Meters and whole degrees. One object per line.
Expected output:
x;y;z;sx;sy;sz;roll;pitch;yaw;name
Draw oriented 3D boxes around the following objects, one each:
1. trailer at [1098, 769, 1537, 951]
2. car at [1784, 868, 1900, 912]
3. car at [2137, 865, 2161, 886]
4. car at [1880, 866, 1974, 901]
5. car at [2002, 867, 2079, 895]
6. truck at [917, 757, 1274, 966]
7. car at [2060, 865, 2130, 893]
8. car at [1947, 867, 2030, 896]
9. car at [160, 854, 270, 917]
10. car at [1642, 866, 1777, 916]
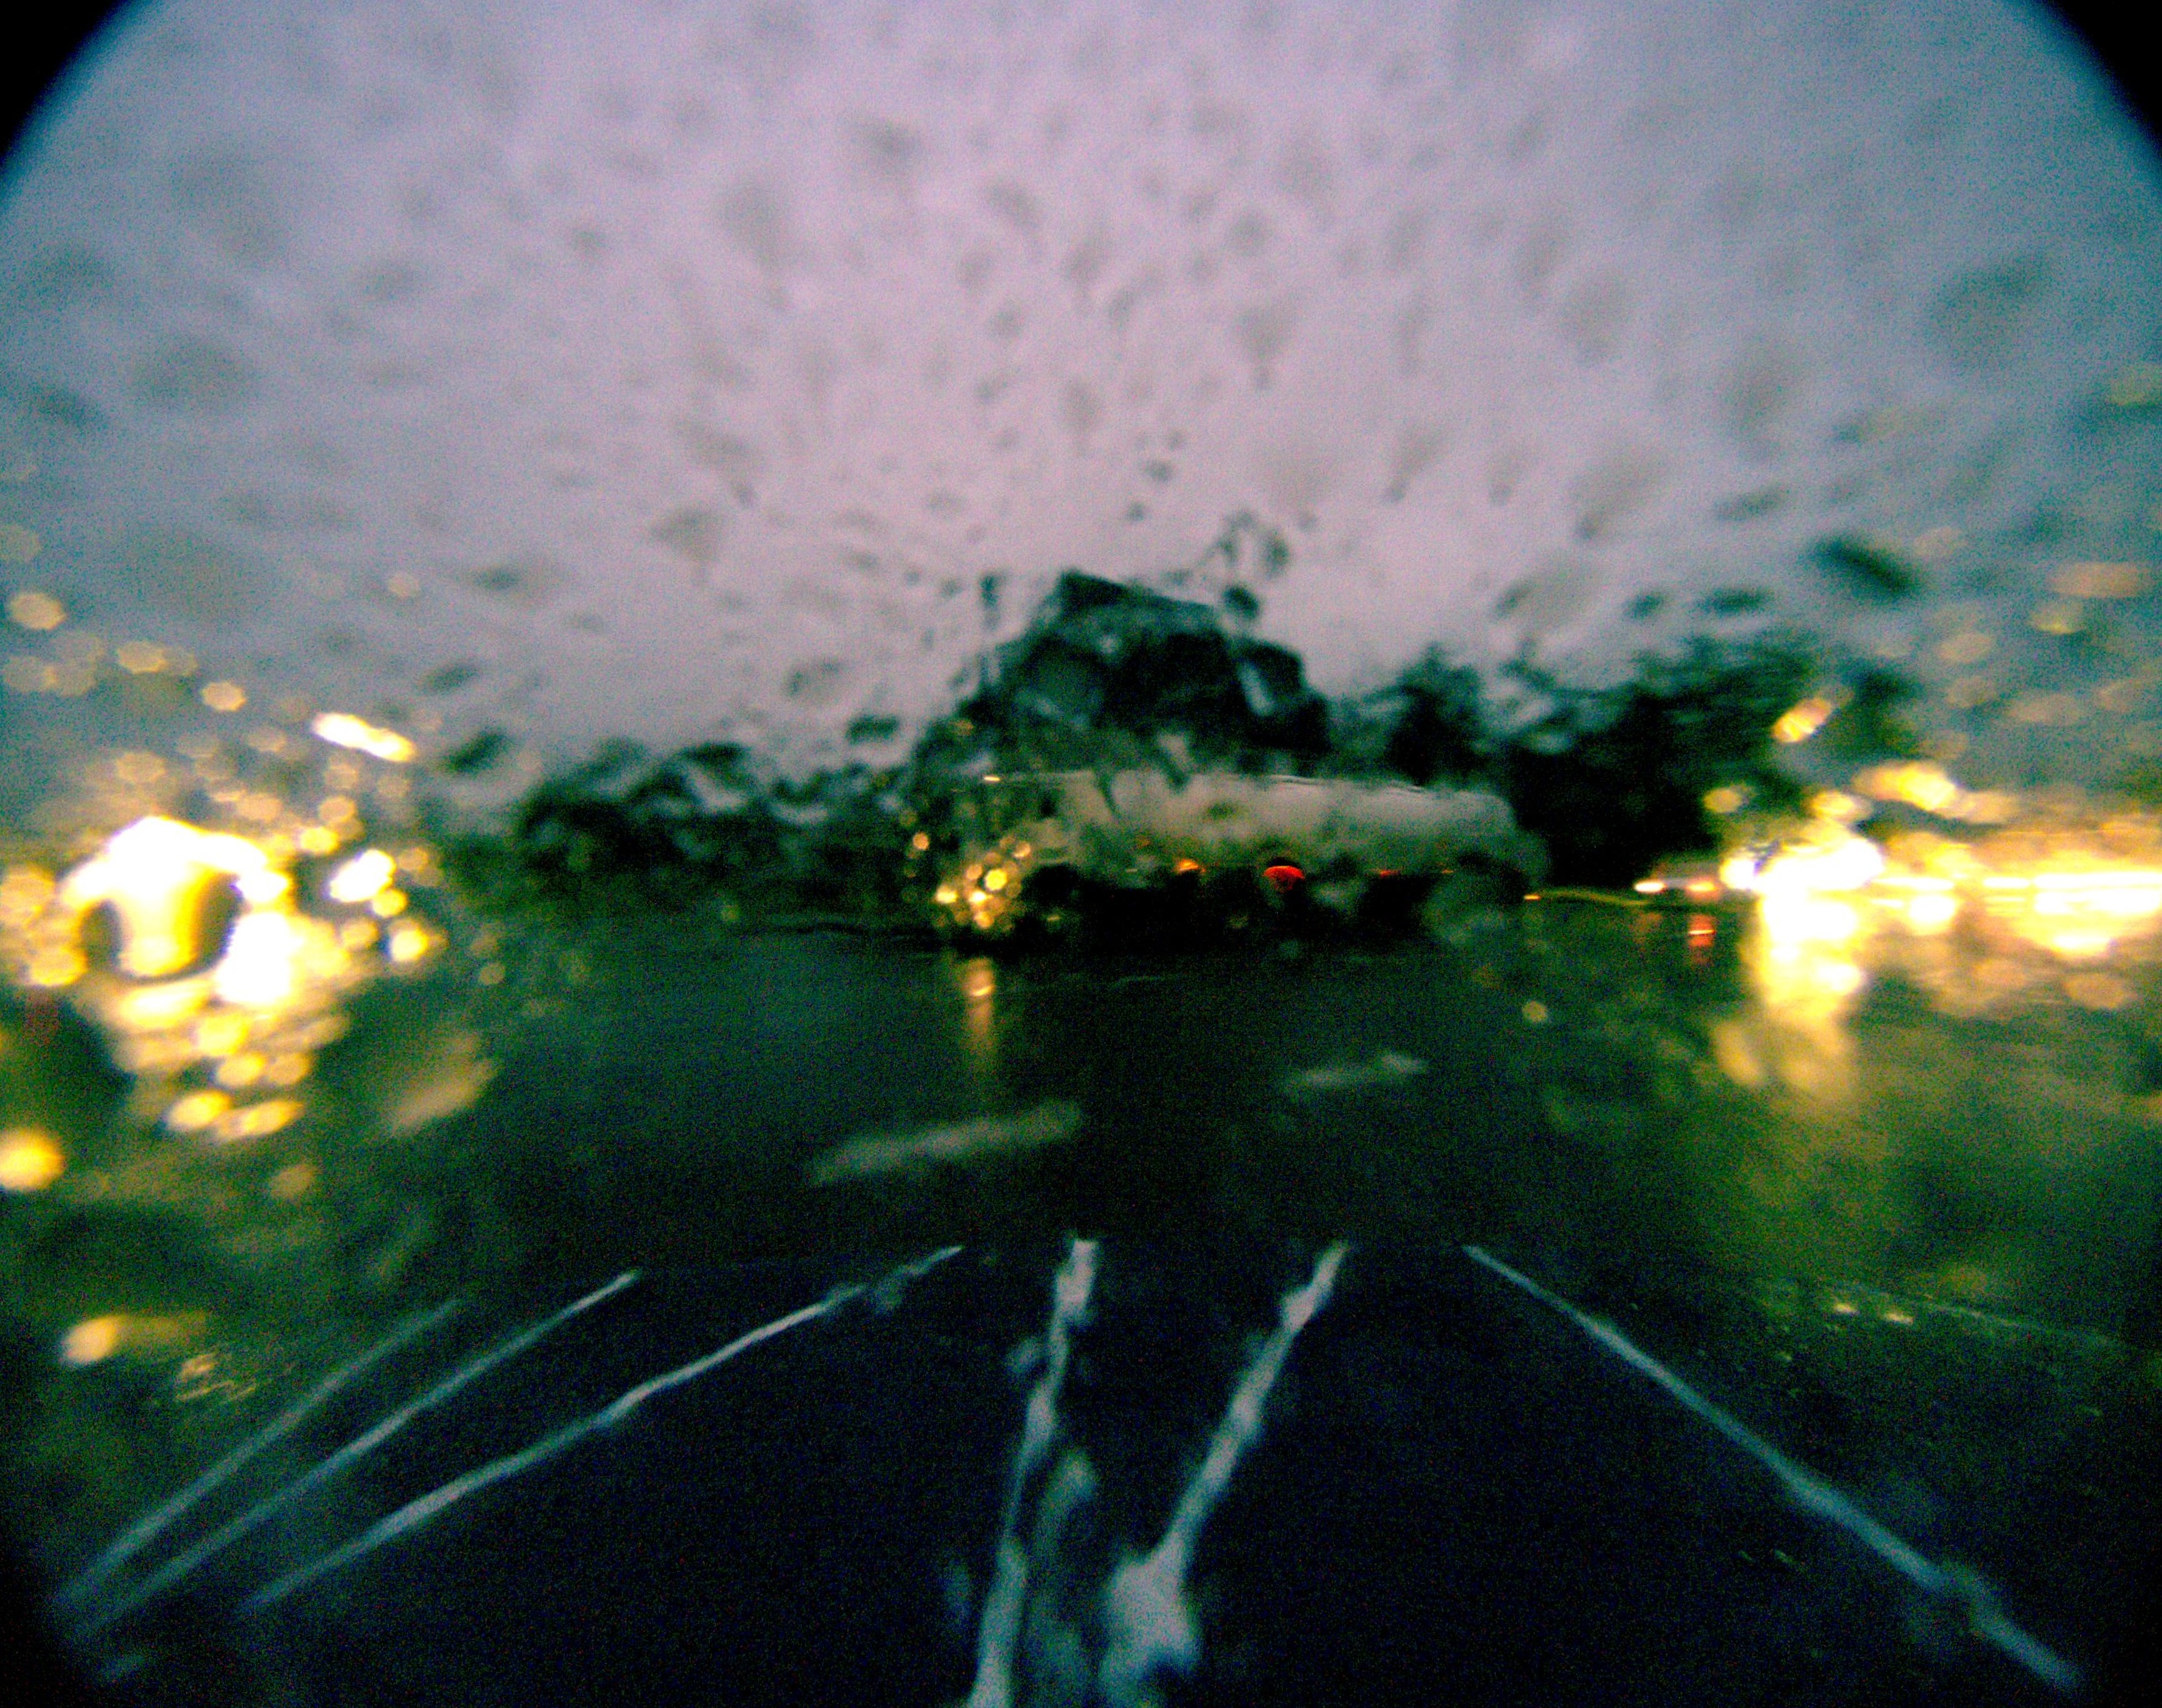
5.734;0.138;17.096;10.885;3.221;2.490;0;0;-28;trailer
28.973;1.327;28.912;4.510;1.559;1.838;0;-1;-27;car
77.616;1.505;54.445;4.007;1.483;2.012;1;-1;-32;car
37.115;1.267;33.328;4.278;1.462;1.704;0;-1;-27;car
51.251;1.415;40.561;4.776;1.358;1.642;0;0;-27;car
0.360;0.134;14.231;6.282;3.210;2.464;0;0;-28;truck
59.296;1.455;44.433;4.471;1.566;1.710;1;0;-27;car
43.707;1.294;36.589;4.278;1.328;1.655;0;0;-27;car
-25.208;0.845;22.092;3.905;1.679;1.822;0;-1;37;car
19.640;1.101;23.725;4.388;1.430;1.664;0;-1;-28;car
